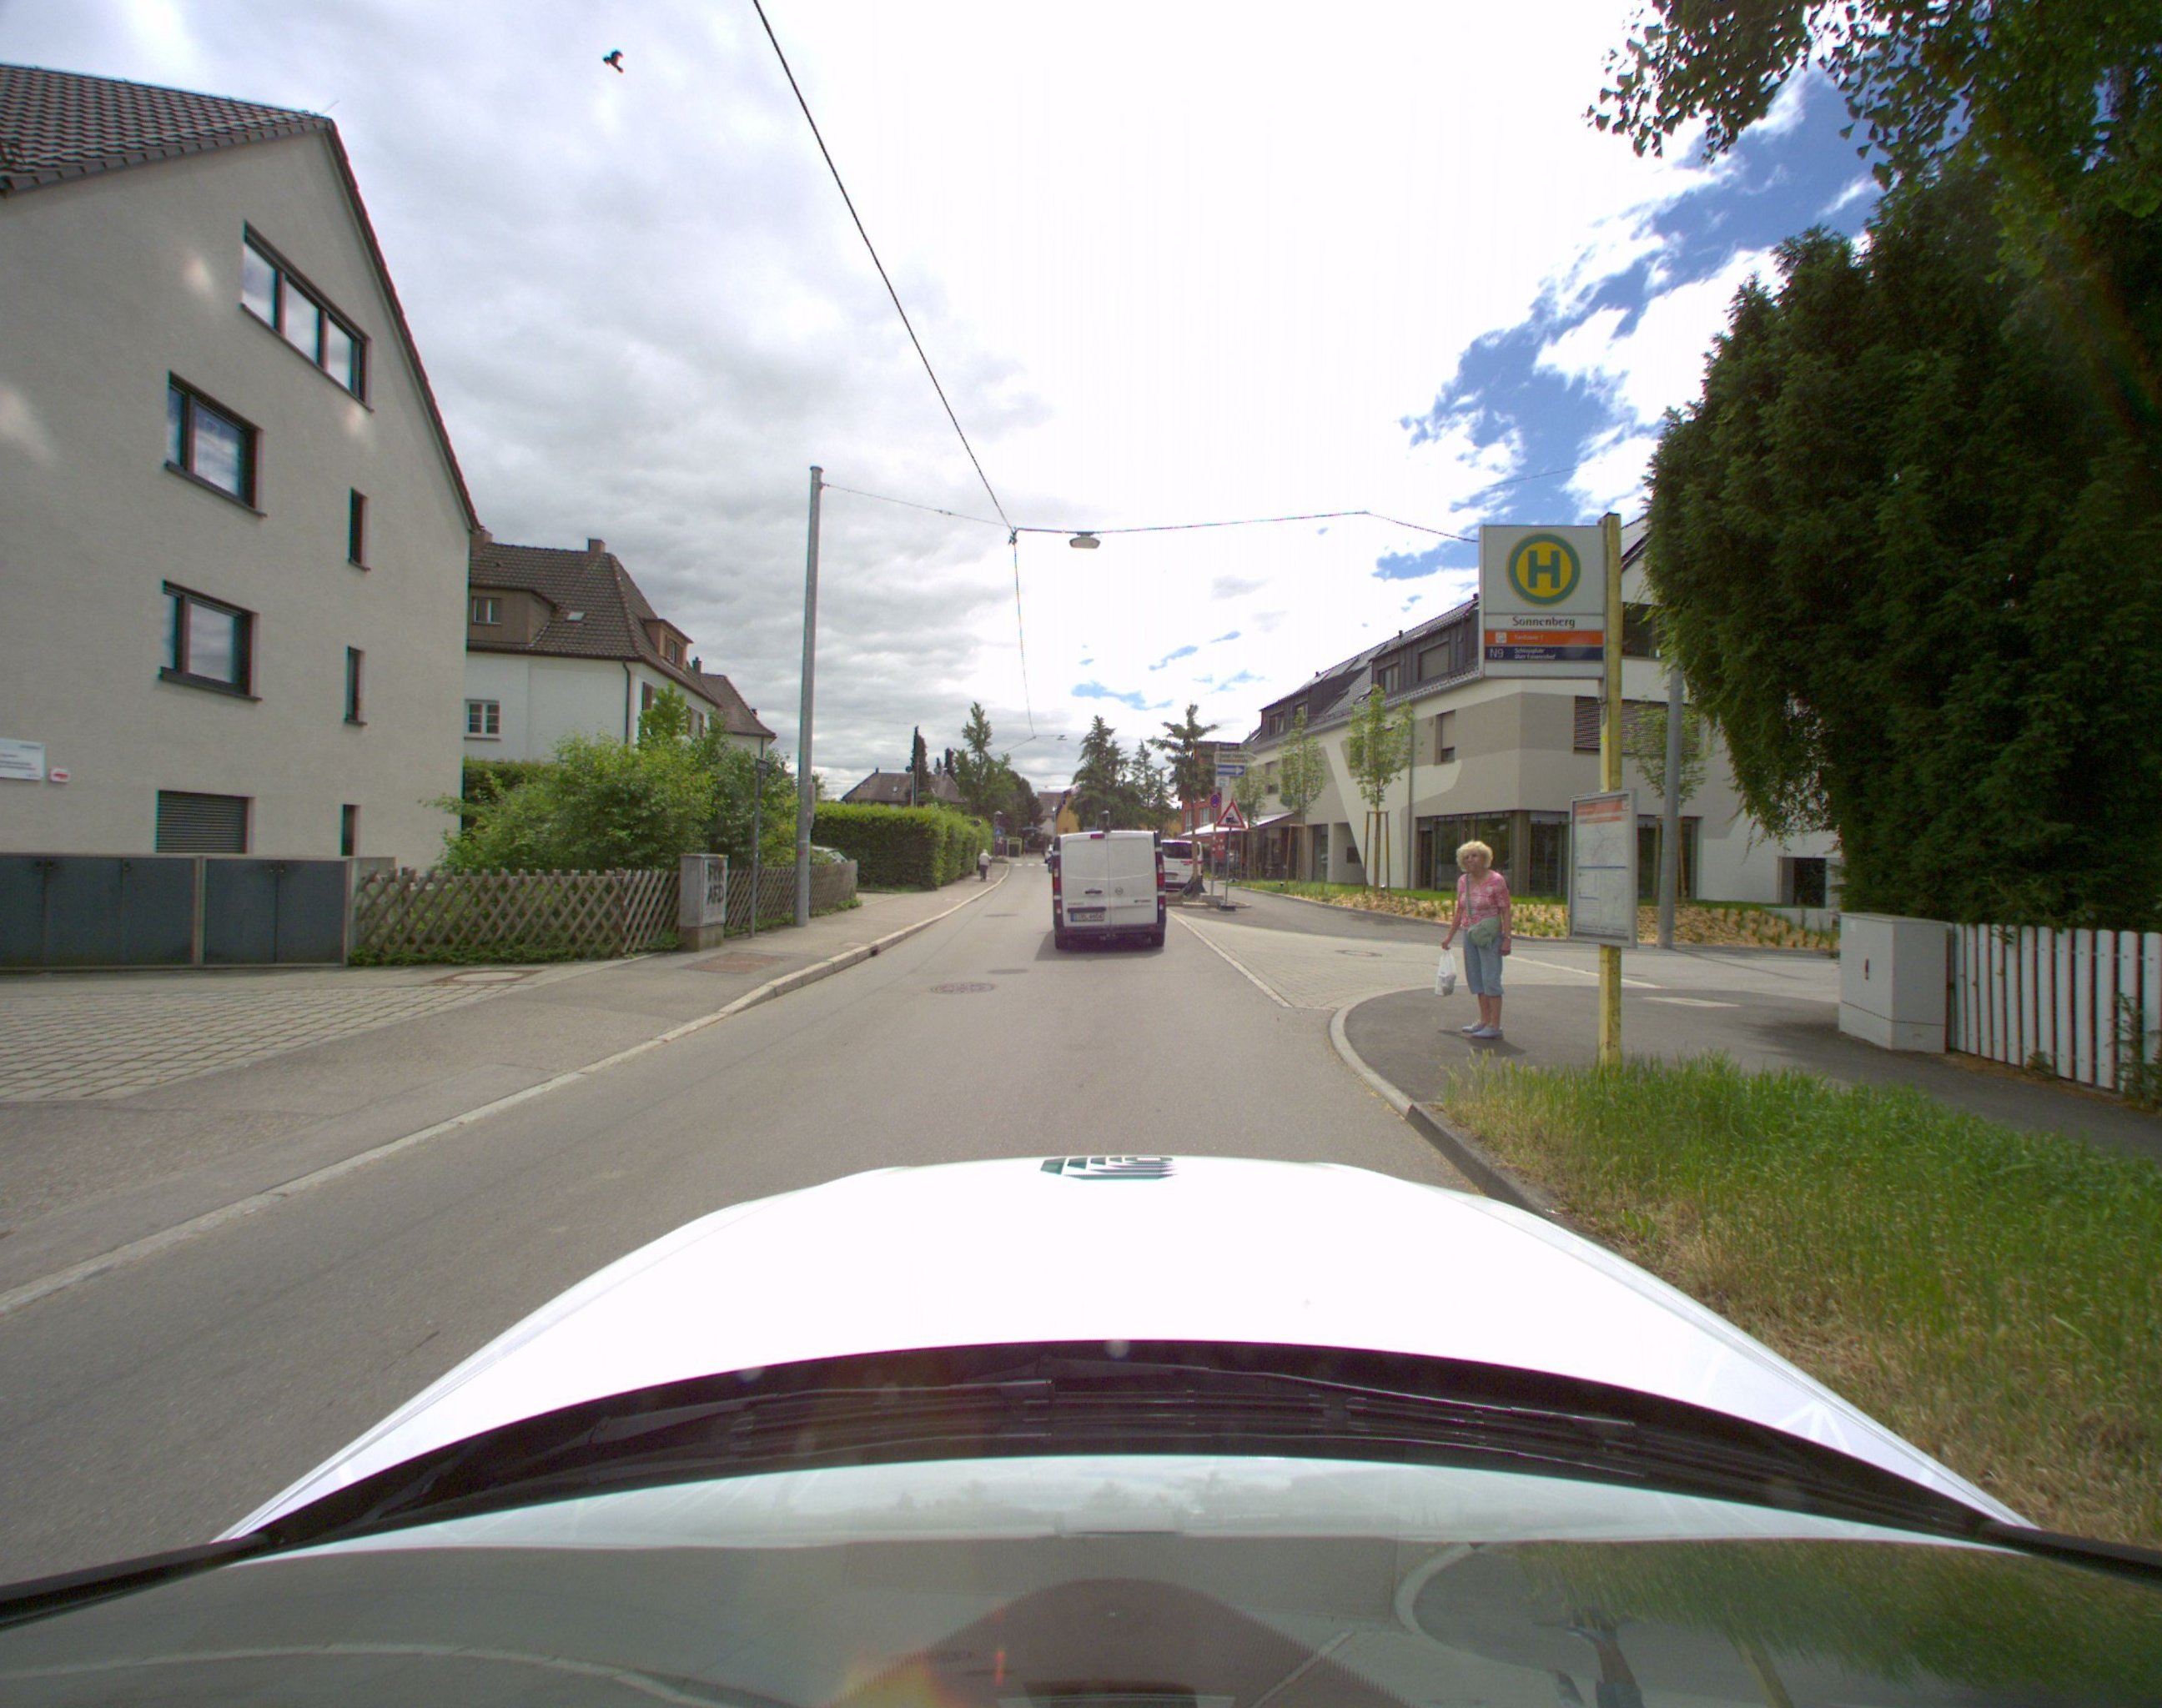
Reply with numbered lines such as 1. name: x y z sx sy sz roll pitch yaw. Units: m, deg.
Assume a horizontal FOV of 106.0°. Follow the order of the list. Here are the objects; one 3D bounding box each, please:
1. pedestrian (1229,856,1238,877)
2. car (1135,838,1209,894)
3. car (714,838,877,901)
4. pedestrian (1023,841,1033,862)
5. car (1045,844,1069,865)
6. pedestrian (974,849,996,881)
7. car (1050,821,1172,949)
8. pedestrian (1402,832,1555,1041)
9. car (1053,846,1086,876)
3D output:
1. pedestrian: 8.671 0.699 46.415 0.420 1.182 0.323 1 -1 -5
2. car: 3.439 0.462 31.687 1.954 1.916 4.895 3 -1 -3
3. car: -7.616 0.406 22.015 3.660 1.434 1.817 3 -1 -1
4. pedestrian: -5.301 -0.278 81.835 0.833 2.014 0.677 3 -1 -13
5. car: -2.125 0.070 70.659 1.989 1.782 3.996 0 0 -3
6. pedestrian: -4.585 0.530 38.817 0.879 1.485 0.452 3 -1 -23
7. car: 0.395 0.524 15.001 1.911 2.003 4.433 0 -1 -2
8. pedestrian: 3.409 0.673 7.067 0.877 1.645 0.858 3 -1 3
9. car: -0.804 0.419 52.291 1.989 1.848 3.996 0 0 -3
